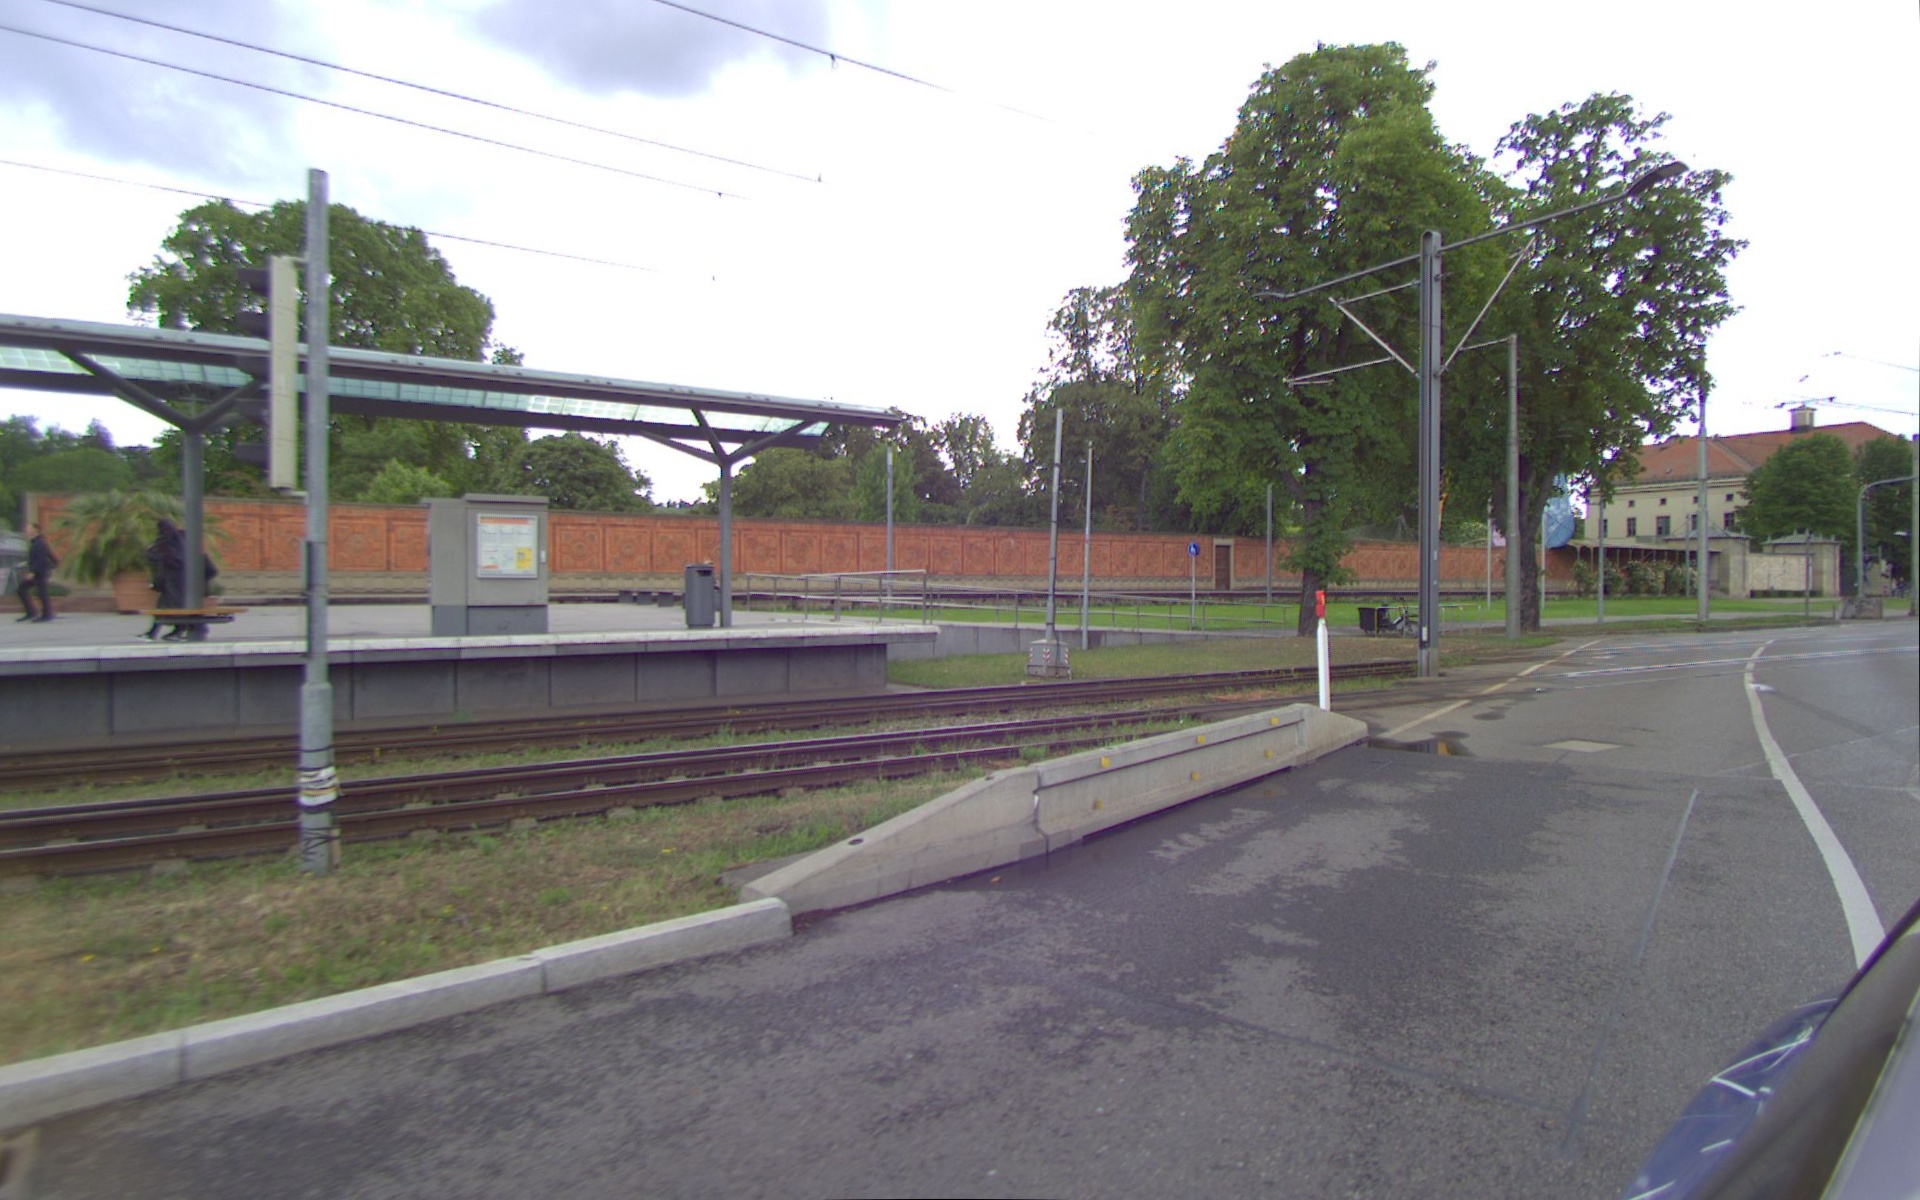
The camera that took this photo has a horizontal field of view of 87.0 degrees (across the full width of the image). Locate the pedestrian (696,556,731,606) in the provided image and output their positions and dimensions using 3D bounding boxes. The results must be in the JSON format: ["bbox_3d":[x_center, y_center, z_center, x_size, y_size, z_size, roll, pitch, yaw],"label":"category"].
[{"bbox_3d":[-6.153,-0.466,25.251,0.657,1.216,0.549,-2,-1,-38],"label":"pedestrian"}]

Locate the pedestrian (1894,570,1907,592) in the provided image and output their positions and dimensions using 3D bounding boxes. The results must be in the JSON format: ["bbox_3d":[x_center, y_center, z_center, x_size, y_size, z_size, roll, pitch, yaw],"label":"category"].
[{"bbox_3d":[79.859,-1.609,85.952,0.793,1.814,0.597,-1,2,-32],"label":"pedestrian"}]

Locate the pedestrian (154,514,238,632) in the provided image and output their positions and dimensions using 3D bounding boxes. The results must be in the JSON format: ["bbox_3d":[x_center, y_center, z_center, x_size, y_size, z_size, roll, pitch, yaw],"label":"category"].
[{"bbox_3d":[-10.879,-0.377,14.430,0.756,1.620,0.743,-2,-1,-22],"label":"pedestrian"}]

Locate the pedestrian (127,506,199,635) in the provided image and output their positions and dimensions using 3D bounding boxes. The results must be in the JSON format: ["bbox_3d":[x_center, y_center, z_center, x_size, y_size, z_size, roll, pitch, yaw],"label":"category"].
[{"bbox_3d":[-10.695,-0.394,13.593,0.615,1.681,0.488,-2,-1,-22],"label":"pedestrian"}]

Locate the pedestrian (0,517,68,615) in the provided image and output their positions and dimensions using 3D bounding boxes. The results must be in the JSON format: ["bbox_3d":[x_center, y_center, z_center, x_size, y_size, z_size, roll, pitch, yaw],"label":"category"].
[{"bbox_3d":[-17.959,-0.650,19.621,0.935,1.861,0.549,-2,-1,-38],"label":"pedestrian"}]

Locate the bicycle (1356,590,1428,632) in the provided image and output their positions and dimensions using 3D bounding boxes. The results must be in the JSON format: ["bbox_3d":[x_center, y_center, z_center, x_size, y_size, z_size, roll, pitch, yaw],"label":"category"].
[{"bbox_3d":[12.820,0.315,30.091,0.726,1.172,2.001,-1,2,-26],"label":"bicycle"}]
